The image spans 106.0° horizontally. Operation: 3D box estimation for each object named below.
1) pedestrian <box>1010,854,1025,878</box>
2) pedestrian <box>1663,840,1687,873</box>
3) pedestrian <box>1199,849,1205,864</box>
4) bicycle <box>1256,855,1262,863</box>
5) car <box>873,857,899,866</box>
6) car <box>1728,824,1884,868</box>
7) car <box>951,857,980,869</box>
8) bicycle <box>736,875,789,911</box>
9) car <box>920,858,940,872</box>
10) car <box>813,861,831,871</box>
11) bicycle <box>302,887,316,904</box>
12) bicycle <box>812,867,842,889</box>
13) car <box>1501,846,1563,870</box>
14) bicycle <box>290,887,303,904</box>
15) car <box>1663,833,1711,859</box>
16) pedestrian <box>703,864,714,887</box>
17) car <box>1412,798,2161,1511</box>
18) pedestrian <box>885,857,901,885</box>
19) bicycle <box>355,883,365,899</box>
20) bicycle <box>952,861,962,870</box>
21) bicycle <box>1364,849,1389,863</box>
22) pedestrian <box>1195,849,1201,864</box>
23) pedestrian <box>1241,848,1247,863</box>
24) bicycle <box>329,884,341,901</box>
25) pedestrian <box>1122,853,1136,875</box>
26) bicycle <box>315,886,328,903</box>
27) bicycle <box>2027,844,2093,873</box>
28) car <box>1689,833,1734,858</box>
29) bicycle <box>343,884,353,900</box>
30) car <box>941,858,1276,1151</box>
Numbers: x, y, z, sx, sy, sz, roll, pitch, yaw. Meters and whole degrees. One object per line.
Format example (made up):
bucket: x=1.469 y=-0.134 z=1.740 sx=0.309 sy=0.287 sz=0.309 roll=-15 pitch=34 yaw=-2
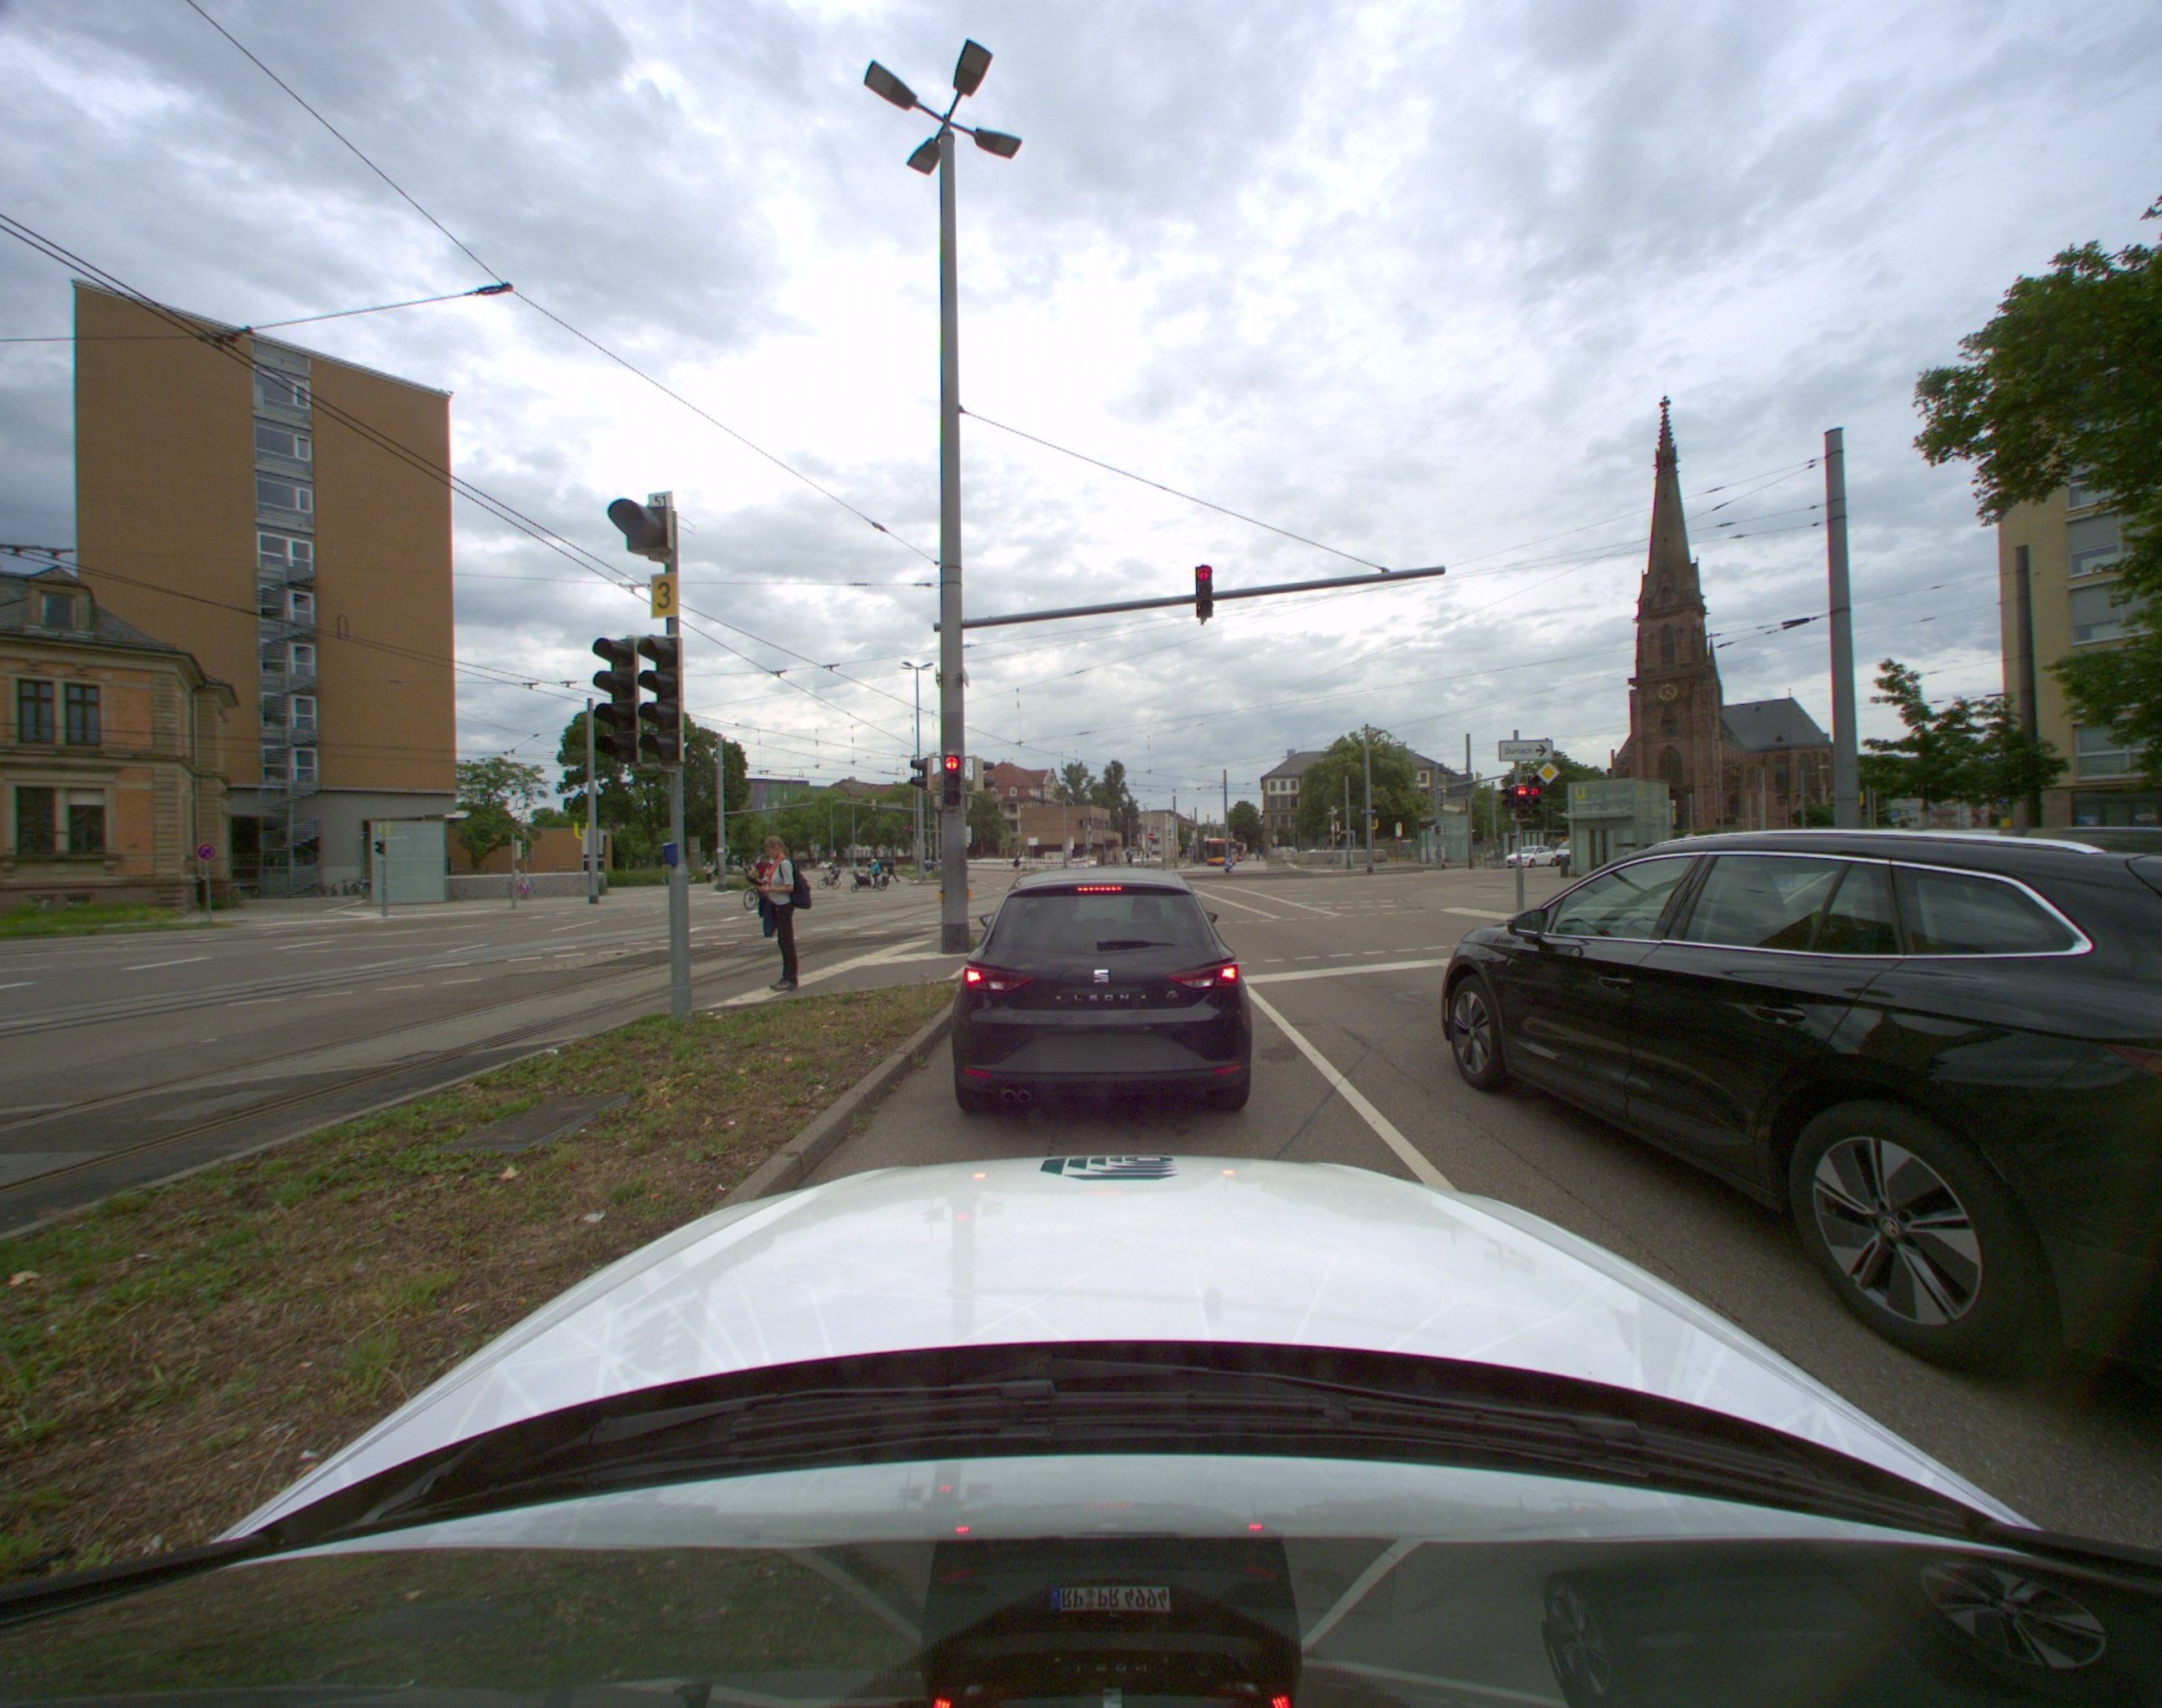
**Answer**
pedestrian: x=-5.097 y=0.969 z=65.222 sx=1.032 sy=1.934 sz=0.695 roll=-2 pitch=0 yaw=-24
pedestrian: x=29.864 y=0.145 z=40.937 sx=0.875 sy=1.638 sz=0.631 roll=-1 pitch=0 yaw=-32
pedestrian: x=15.492 y=0.339 z=104.357 sx=0.617 sy=1.918 sz=0.701 roll=-2 pitch=0 yaw=11
bicycle: x=26.754 y=0.765 z=122.560 sx=0.859 sy=1.104 sz=2.311 roll=-1 pitch=0 yaw=14
car: x=-33.757 y=1.294 z=140.863 sx=3.967 sy=1.464 sz=1.784 roll=-2 pitch=0 yaw=5
car: x=37.656 y=-0.390 z=42.508 sx=5.672 sy=2.014 sz=2.038 roll=-2 pitch=-2 yaw=19
car: x=-17.591 y=1.355 z=123.653 sx=3.970 sy=1.684 sz=2.001 roll=-2 pitch=-1 yaw=3
bicycle: x=-11.284 y=1.362 z=28.924 sx=0.770 sy=1.184 sz=2.038 roll=-2 pitch=0 yaw=11
car: x=-19.567 y=1.376 z=105.417 sx=2.000 sy=1.684 sz=3.973 roll=-1 pitch=-1 yaw=-20
car: x=-48.834 y=2.260 z=153.532 sx=1.725 sy=1.772 sz=3.952 roll=-1 pitch=0 yaw=-41
bicycle: x=-52.089 y=2.768 z=54.953 sx=0.575 sy=1.106 sz=1.411 roll=-1 pitch=0 yaw=-41
bicycle: x=-16.552 y=1.549 z=53.132 sx=1.745 sy=1.321 sz=0.637 roll=-1 pitch=0 yaw=-41
car: x=30.404 y=0.272 z=54.848 sx=4.011 sy=1.464 sz=1.758 roll=-1 pitch=-2 yaw=-30
bicycle: x=-52.539 y=2.782 z=54.549 sx=0.575 sy=1.106 sz=1.411 roll=-1 pitch=0 yaw=-41
car: x=49.706 y=-0.631 z=66.743 sx=4.017 sy=2.013 sz=1.978 roll=-1 pitch=0 yaw=-36
pedestrian: x=-33.741 y=1.944 z=73.820 sx=0.799 sy=1.981 sz=0.872 roll=-1 pitch=-2 yaw=-33
car: x=3.318 y=0.655 z=3.763 sx=1.771 sy=1.597 sz=4.510 roll=-1 pitch=0 yaw=1
pedestrian: x=-13.980 y=1.232 z=60.483 sx=1.023 sy=2.013 sz=0.841 roll=-1 pitch=0 yaw=-18
bicycle: x=-50.241 y=2.590 z=56.719 sx=0.484 sy=1.049 sz=1.411 roll=-1 pitch=0 yaw=-41
bicycle: x=-16.732 y=1.561 z=110.210 sx=0.895 sy=1.178 sz=2.287 roll=-1 pitch=0 yaw=-20
bicycle: x=29.658 y=0.184 z=81.717 sx=2.248 sy=1.331 sz=0.709 roll=-2 pitch=-2 yaw=9
pedestrian: x=15.155 y=0.341 z=105.369 sx=0.618 sy=1.918 sz=0.711 roll=-2 pitch=0 yaw=5
pedestrian: x=21.055 y=0.207 z=105.054 sx=0.589 sy=1.884 sz=0.535 roll=-2 pitch=0 yaw=28
bicycle: x=-51.158 y=2.630 z=55.835 sx=0.575 sy=1.106 sz=1.411 roll=-1 pitch=0 yaw=-41
pedestrian: x=4.318 y=0.934 z=72.998 sx=0.692 sy=1.934 sz=1.037 roll=-2 pitch=0 yaw=40
bicycle: x=-51.642 y=2.770 z=55.359 sx=0.575 sy=1.106 sz=1.411 roll=-1 pitch=0 yaw=-41
bicycle: x=31.503 y=0.144 z=26.222 sx=0.596 sy=0.917 sz=1.253 roll=-1 pitch=0 yaw=-28
car: x=53.569 y=-0.723 z=69.181 sx=4.017 sy=2.013 sz=1.978 roll=-1 pitch=0 yaw=-36
bicycle: x=-50.654 y=2.621 z=56.280 sx=0.512 sy=1.049 sz=1.411 roll=-1 pitch=0 yaw=-41
car: x=0.086 y=0.775 z=6.101 sx=1.700 sy=1.449 sz=3.809 roll=-1 pitch=0 yaw=-2
